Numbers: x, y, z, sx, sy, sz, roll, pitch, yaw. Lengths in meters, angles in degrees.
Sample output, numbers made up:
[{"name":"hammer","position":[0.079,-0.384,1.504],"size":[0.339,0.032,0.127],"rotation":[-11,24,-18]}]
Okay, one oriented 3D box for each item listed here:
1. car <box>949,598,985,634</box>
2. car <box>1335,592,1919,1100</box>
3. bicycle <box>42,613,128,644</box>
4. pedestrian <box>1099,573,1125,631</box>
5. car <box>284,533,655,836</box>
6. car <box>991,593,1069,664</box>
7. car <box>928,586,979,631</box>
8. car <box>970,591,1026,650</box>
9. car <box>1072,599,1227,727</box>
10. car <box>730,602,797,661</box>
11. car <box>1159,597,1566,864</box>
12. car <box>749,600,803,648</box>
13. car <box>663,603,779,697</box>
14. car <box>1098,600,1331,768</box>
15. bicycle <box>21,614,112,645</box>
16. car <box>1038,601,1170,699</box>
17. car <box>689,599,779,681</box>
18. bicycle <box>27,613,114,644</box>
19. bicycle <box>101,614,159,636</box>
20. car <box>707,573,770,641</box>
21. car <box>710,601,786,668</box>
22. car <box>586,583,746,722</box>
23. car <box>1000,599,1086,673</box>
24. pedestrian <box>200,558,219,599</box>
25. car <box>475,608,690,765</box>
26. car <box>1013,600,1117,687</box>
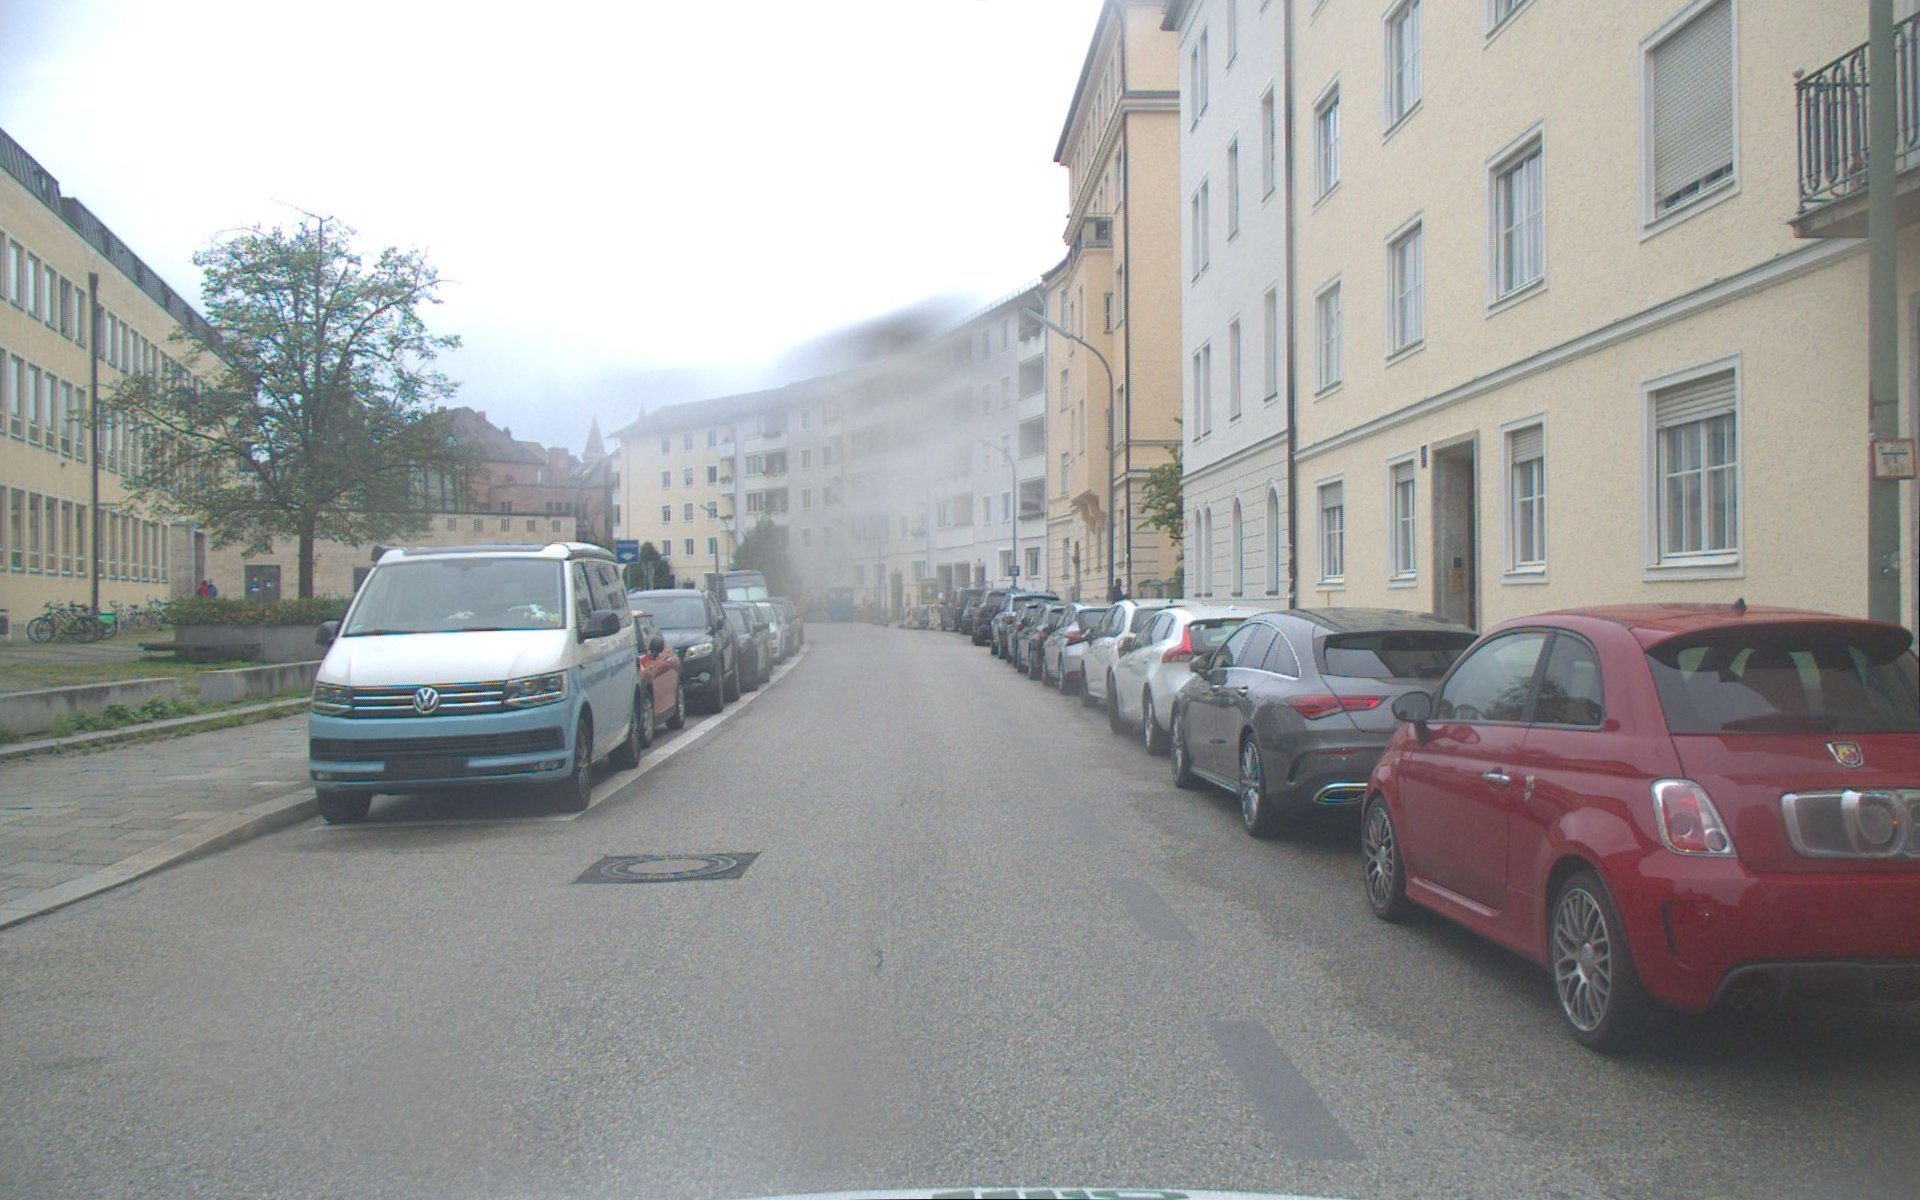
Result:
[{"name":"car","position":[0.259,0.614,63.996],"size":[1.246,1.321,2.796],"rotation":[1,1,-3]},{"name":"car","position":[2.838,0.749,7.012],"size":[1.563,1.535,3.800],"rotation":[0,1,-1]},{"name":"bicycle","position":[-26.059,0.845,49.291],"size":[2.173,0.911,0.644],"rotation":[0,0,-21]},{"name":"pedestrian","position":[4.642,0.052,50.471],"size":[0.653,1.722,0.689],"rotation":[2,0,-2]},{"name":"car","position":[-3.689,0.514,13.331],"size":[1.845,1.965,4.597],"rotation":[-2,1,-4]},{"name":"car","position":[1.744,0.684,42.359],"size":[1.559,1.609,4.297],"rotation":[2,1,-3]},{"name":"car","position":[-0.305,0.346,69.228],"size":[1.573,1.745,3.081],"rotation":[1,1,-11]},{"name":"car","position":[1.174,0.612,52.191],"size":[1.444,1.669,3.999],"rotation":[2,1,-3]},{"name":"car","position":[2.499,0.788,22.609],"size":[1.566,1.517,3.798],"rotation":[1,1,-2]},{"name":"car","position":[-5.327,0.828,45.134],"size":[1.591,1.444,3.979],"rotation":[-1,1,-4]},{"name":"car","position":[2.595,0.750,11.736],"size":[1.658,1.517,4.341],"rotation":[0,0,-3]},{"name":"car","position":[-6.052,0.767,54.622],"size":[1.591,1.444,3.645],"rotation":[-1,1,-4]},{"name":"car","position":[-4.128,0.820,29.019],"size":[1.591,1.437,3.797],"rotation":[-2,1,-2]},{"name":"car","position":[2.584,0.790,17.733],"size":[1.658,1.517,4.281],"rotation":[0,1,-3]},{"name":"bicycle","position":[-24.880,0.812,46.078],"size":[2.173,0.849,0.492],"rotation":[0,0,-21]},{"name":"car","position":[2.330,0.780,27.587],"size":[1.658,1.457,3.942],"rotation":[2,0,-3]},{"name":"car","position":[-4.610,0.771,34.141],"size":[1.592,1.534,3.978],"rotation":[-1,1,-5]},{"name":"bicycle","position":[-25.151,0.801,46.804],"size":[2.087,0.849,0.644],"rotation":[0,0,-21]},{"name":"bicycle","position":[-28.473,0.858,56.757],"size":[1.712,0.727,0.611],"rotation":[0,0,-20]},{"name":"car","position":[-9.324,0.275,69.465],"size":[1.744,2.700,3.977],"rotation":[2,0,-20]},{"name":"car","position":[-5.037,0.796,39.639],"size":[1.592,1.444,3.978],"rotation":[-1,1,-5]},{"name":"car","position":[-4.074,0.660,23.463],"size":[1.667,1.720,4.026],"rotation":[-2,1,-2]},{"name":"car","position":[1.822,0.773,37.287],"size":[1.559,1.457,3.824],"rotation":[2,1,-3]},{"name":"pedestrian","position":[-32.772,-0.938,72.232],"size":[0.593,1.766,0.656],"rotation":[3,0,-33]},{"name":"car","position":[-4.006,0.858,18.106],"size":[1.619,1.397,3.651],"rotation":[-2,1,-2]},{"name":"car","position":[2.002,0.802,32.613],"size":[1.559,1.457,4.419],"rotation":[2,1,-3]}]
